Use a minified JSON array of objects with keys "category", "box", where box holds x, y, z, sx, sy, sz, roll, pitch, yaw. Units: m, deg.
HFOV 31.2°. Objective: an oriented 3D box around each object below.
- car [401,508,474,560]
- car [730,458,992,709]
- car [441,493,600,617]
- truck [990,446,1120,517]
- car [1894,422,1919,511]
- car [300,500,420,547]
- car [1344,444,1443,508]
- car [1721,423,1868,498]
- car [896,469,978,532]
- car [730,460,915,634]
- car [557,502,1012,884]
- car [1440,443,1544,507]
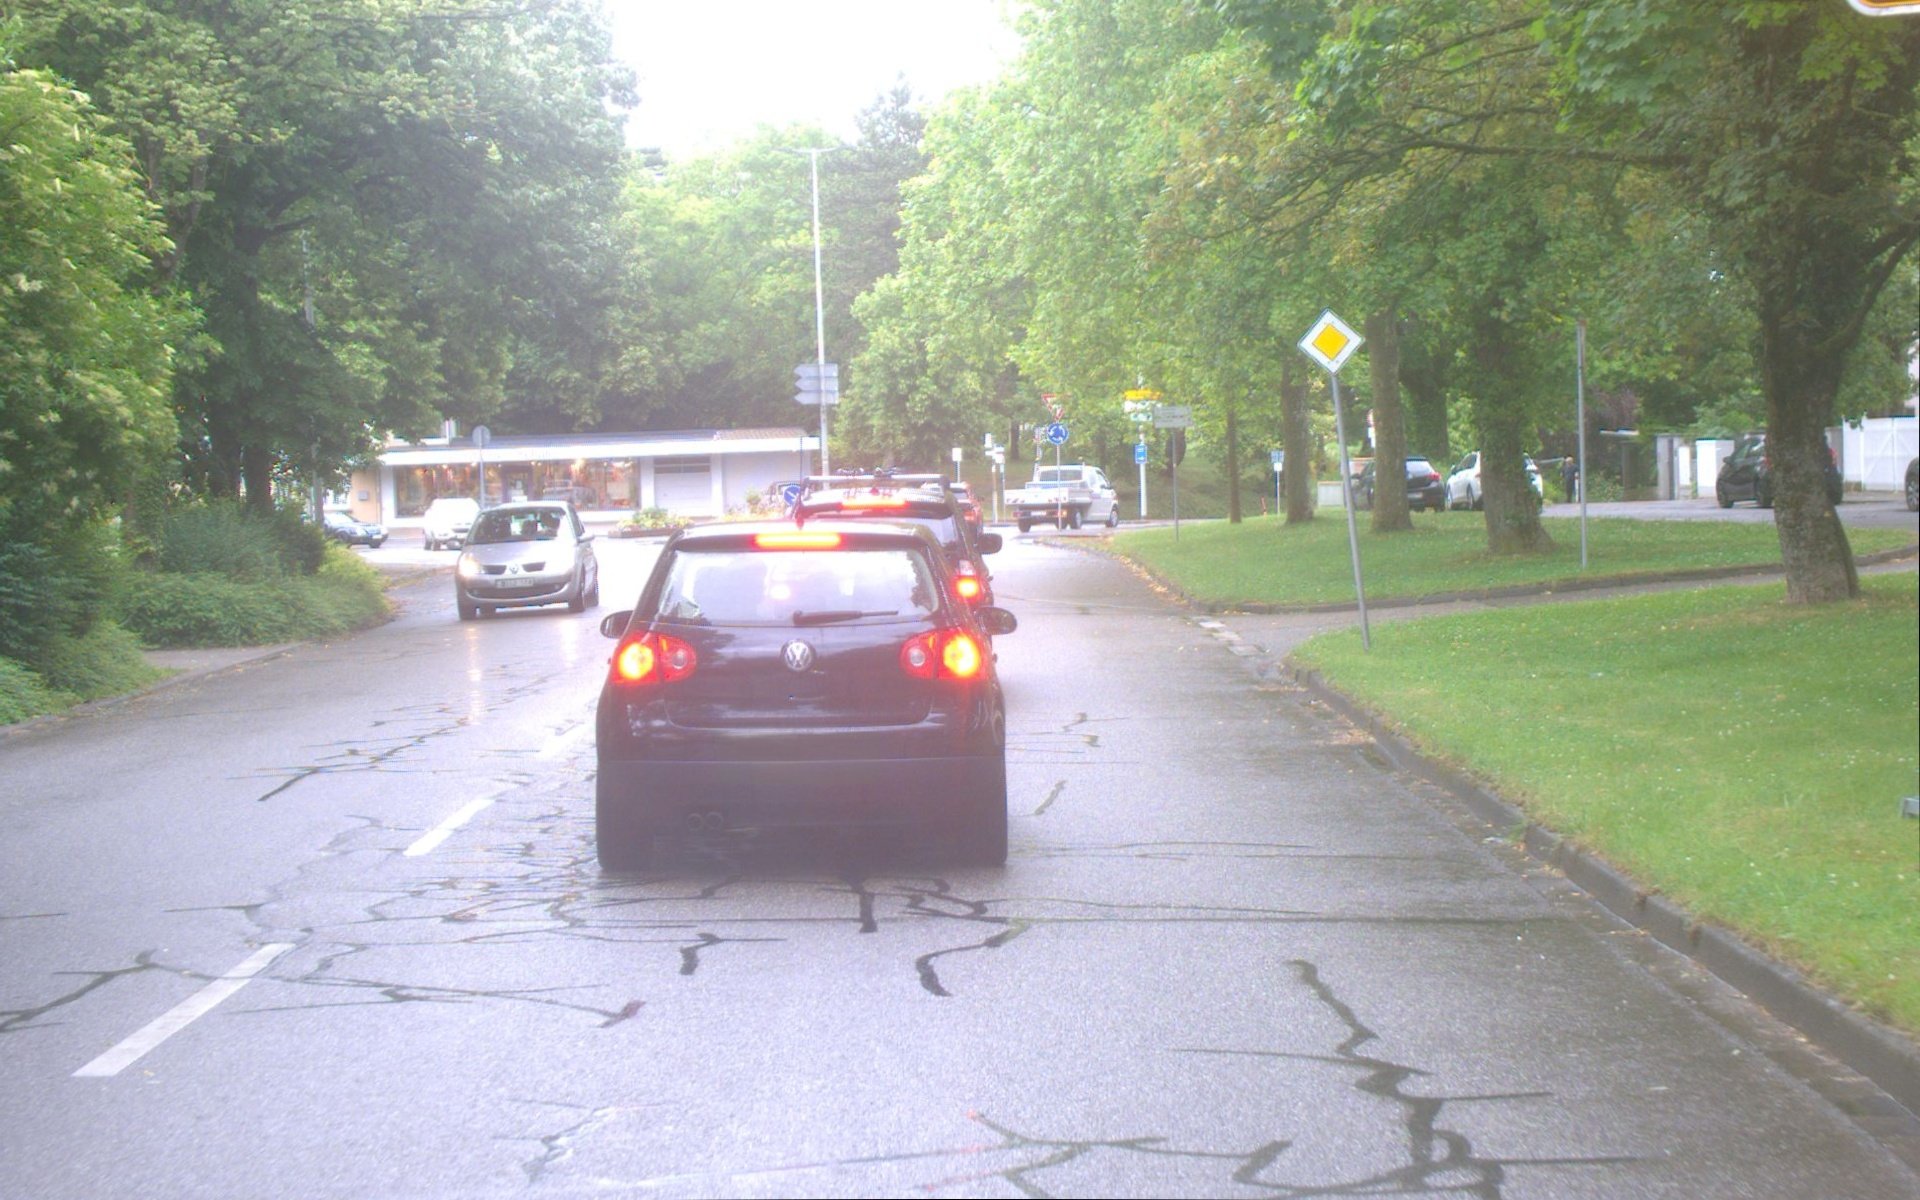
[{"category":"car","box":[-17.095,-2.165,112.331,1.771,1.612,3.805,-2,2,-17]},{"category":"car","box":[-0.730,-0.190,27.269,1.855,1.778,4.001,-2,2,0]},{"category":"car","box":[-6.223,-0.682,49.031,1.763,1.608,4.142,-3,2,-1]},{"category":"truck","box":[2.905,-3.588,103.740,2.419,1.997,5.146,-2,2,19]},{"category":"car","box":[17.697,-2.335,59.308,1.801,1.524,4.113,-3,3,-3]},{"category":"car","box":[-21.538,-2.728,123.364,3.972,1.388,1.800,-3,2,32]},{"category":"car","box":[10.566,-3.042,84.013,1.803,1.380,4.001,-4,2,0]},{"category":"car","box":[17.285,-2.906,71.355,1.801,1.406,4.113,-3,3,-3]},{"category":"car","box":[-0.621,-2.558,88.474,1.706,1.508,3.674,-3,2,-6]},{"category":"car","box":[-1.488,-0.613,38.592,1.855,1.778,4.000,-2,1,0]},{"category":"car","box":[-0.702,0.324,15.587,1.798,1.510,3.754,0,1,0]},{"category":"car","box":[12.983,-3.075,84.120,1.803,1.401,4.001,-4,2,0]}]
